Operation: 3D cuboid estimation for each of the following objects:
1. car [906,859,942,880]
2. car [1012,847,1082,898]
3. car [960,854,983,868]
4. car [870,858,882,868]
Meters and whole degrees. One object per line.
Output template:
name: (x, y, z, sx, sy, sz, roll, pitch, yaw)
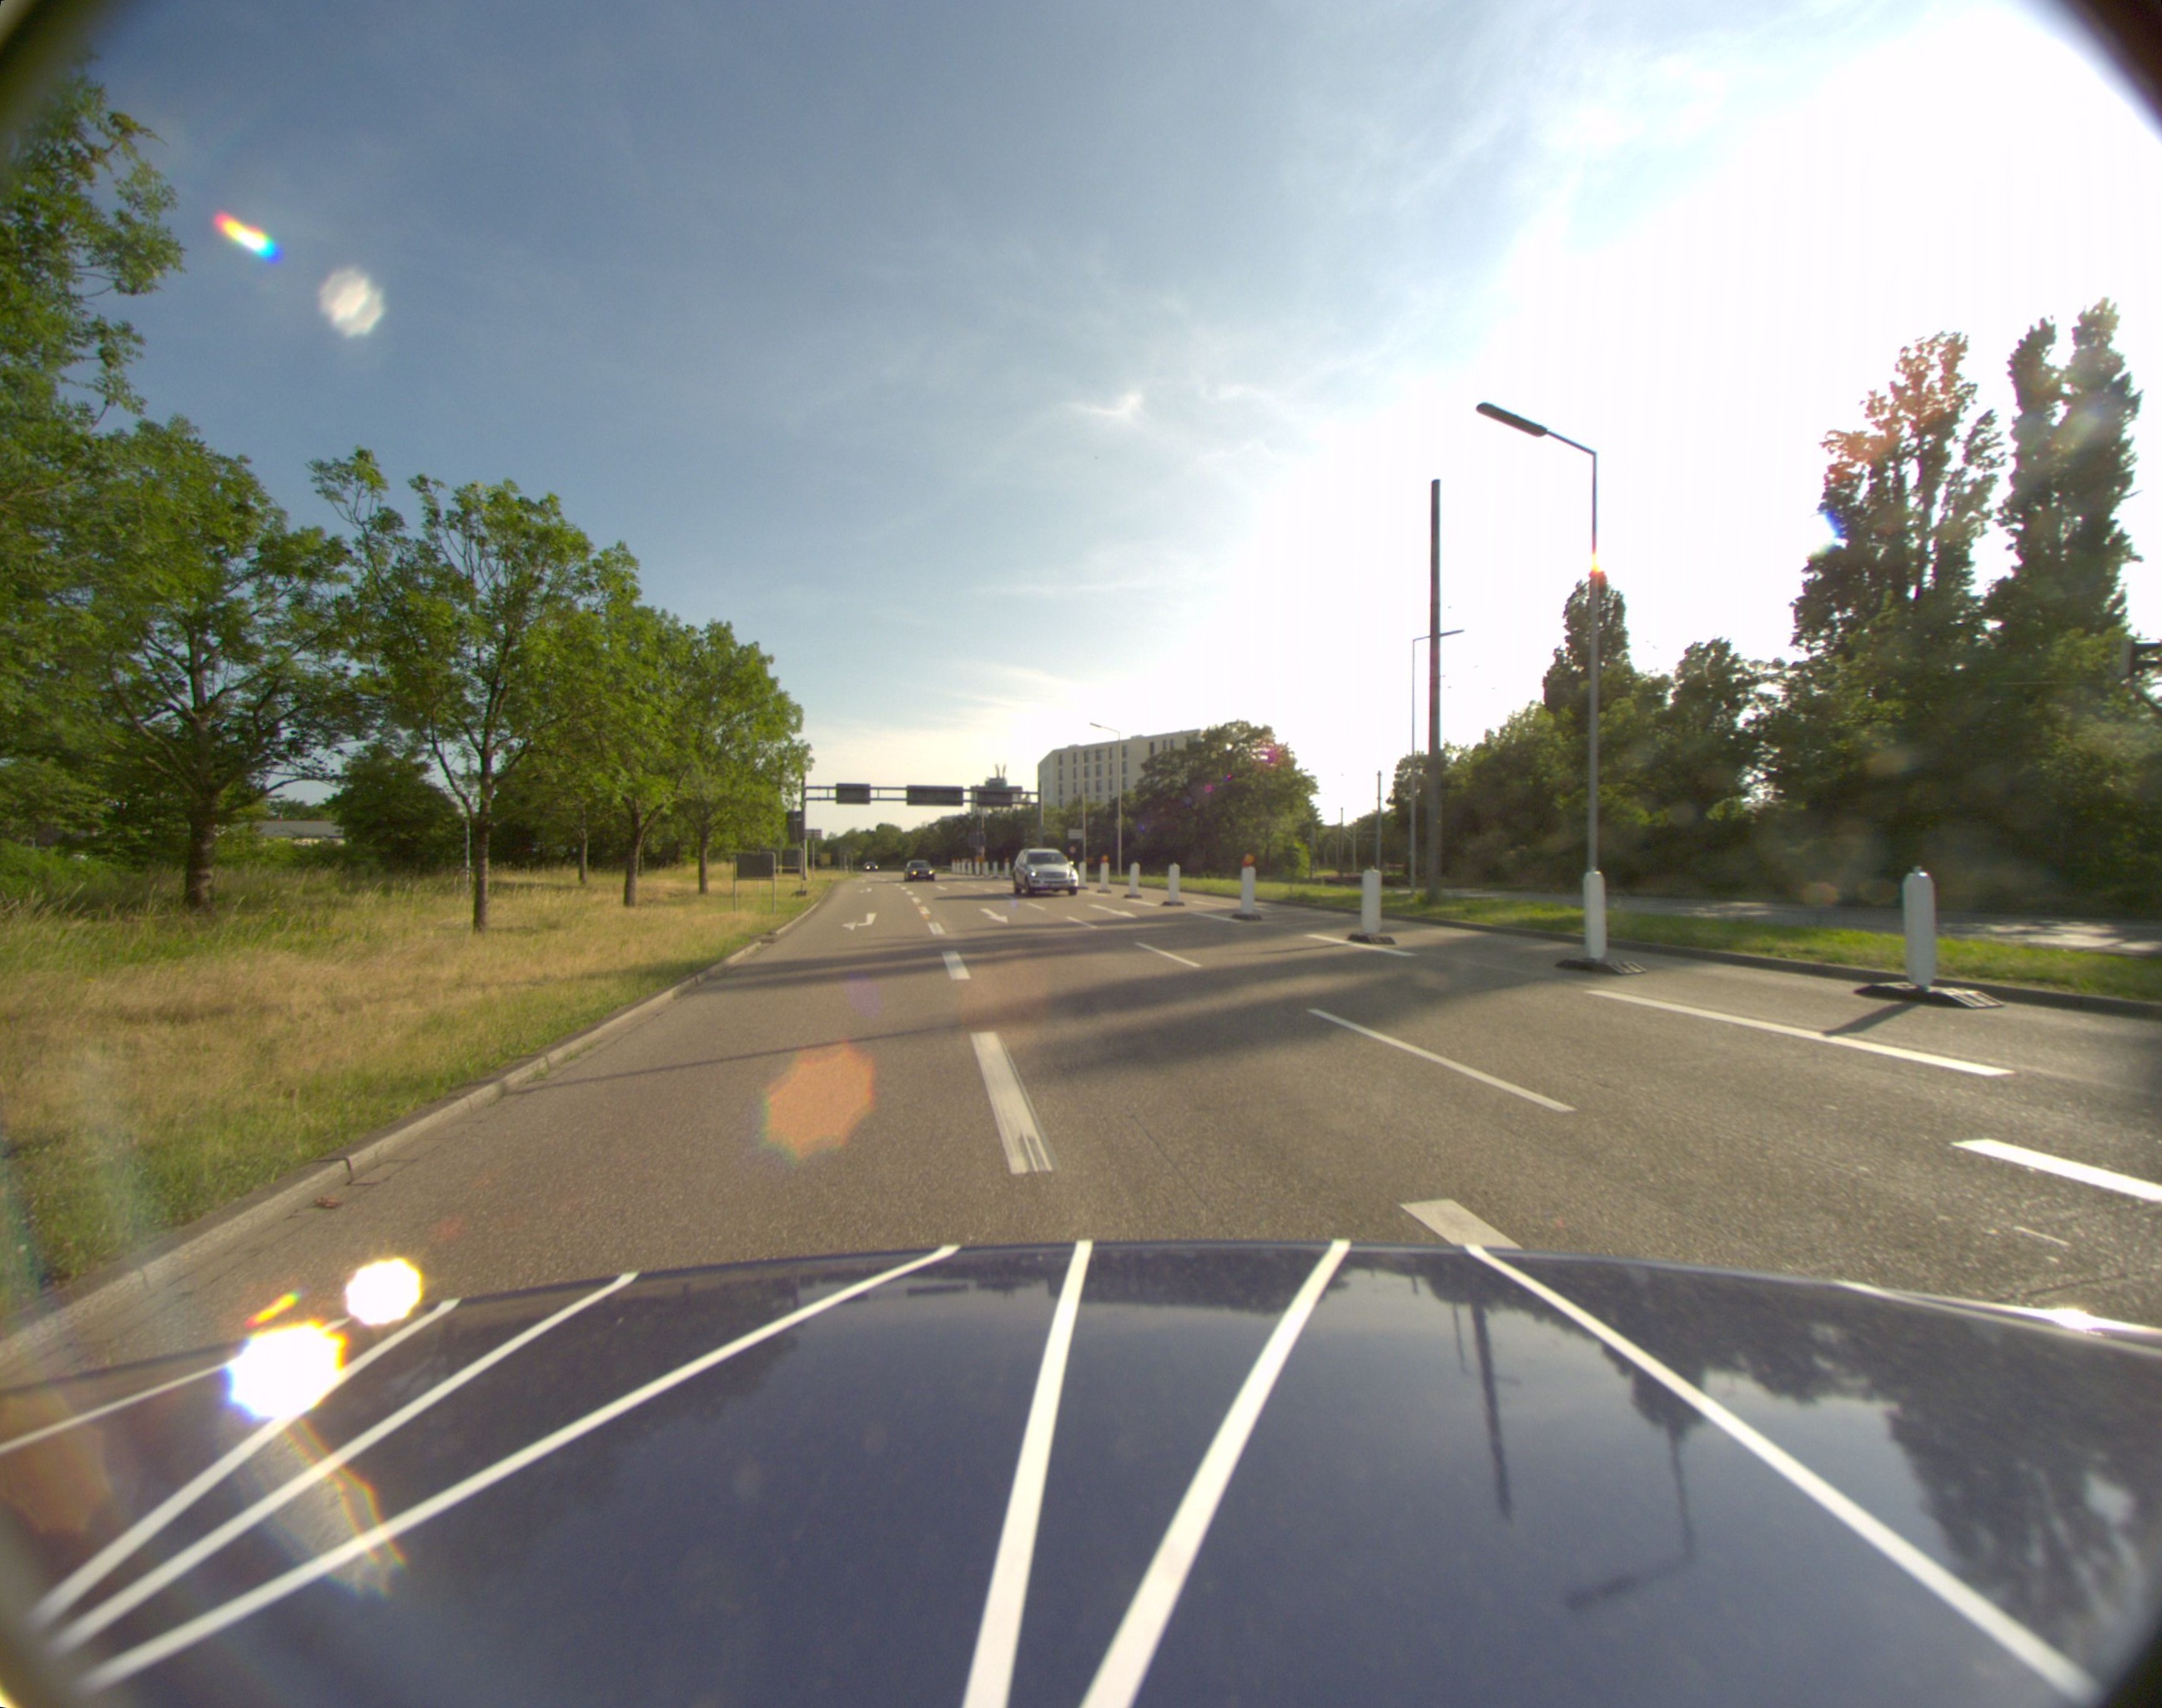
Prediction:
car: (-10.902, 1.047, 52.521, 1.904, 1.377, 4.349, -2, 0, -18)
car: (-1.427, 0.682, 29.857, 1.903, 1.813, 4.350, -2, 0, -14)
car: (-16.454, 1.034, 113.649, 2.003, 2.002, 5.347, 0, 0, -24)
car: (-32.406, 1.399, 120.072, 1.897, 1.447, 3.903, 0, 0, -16)
